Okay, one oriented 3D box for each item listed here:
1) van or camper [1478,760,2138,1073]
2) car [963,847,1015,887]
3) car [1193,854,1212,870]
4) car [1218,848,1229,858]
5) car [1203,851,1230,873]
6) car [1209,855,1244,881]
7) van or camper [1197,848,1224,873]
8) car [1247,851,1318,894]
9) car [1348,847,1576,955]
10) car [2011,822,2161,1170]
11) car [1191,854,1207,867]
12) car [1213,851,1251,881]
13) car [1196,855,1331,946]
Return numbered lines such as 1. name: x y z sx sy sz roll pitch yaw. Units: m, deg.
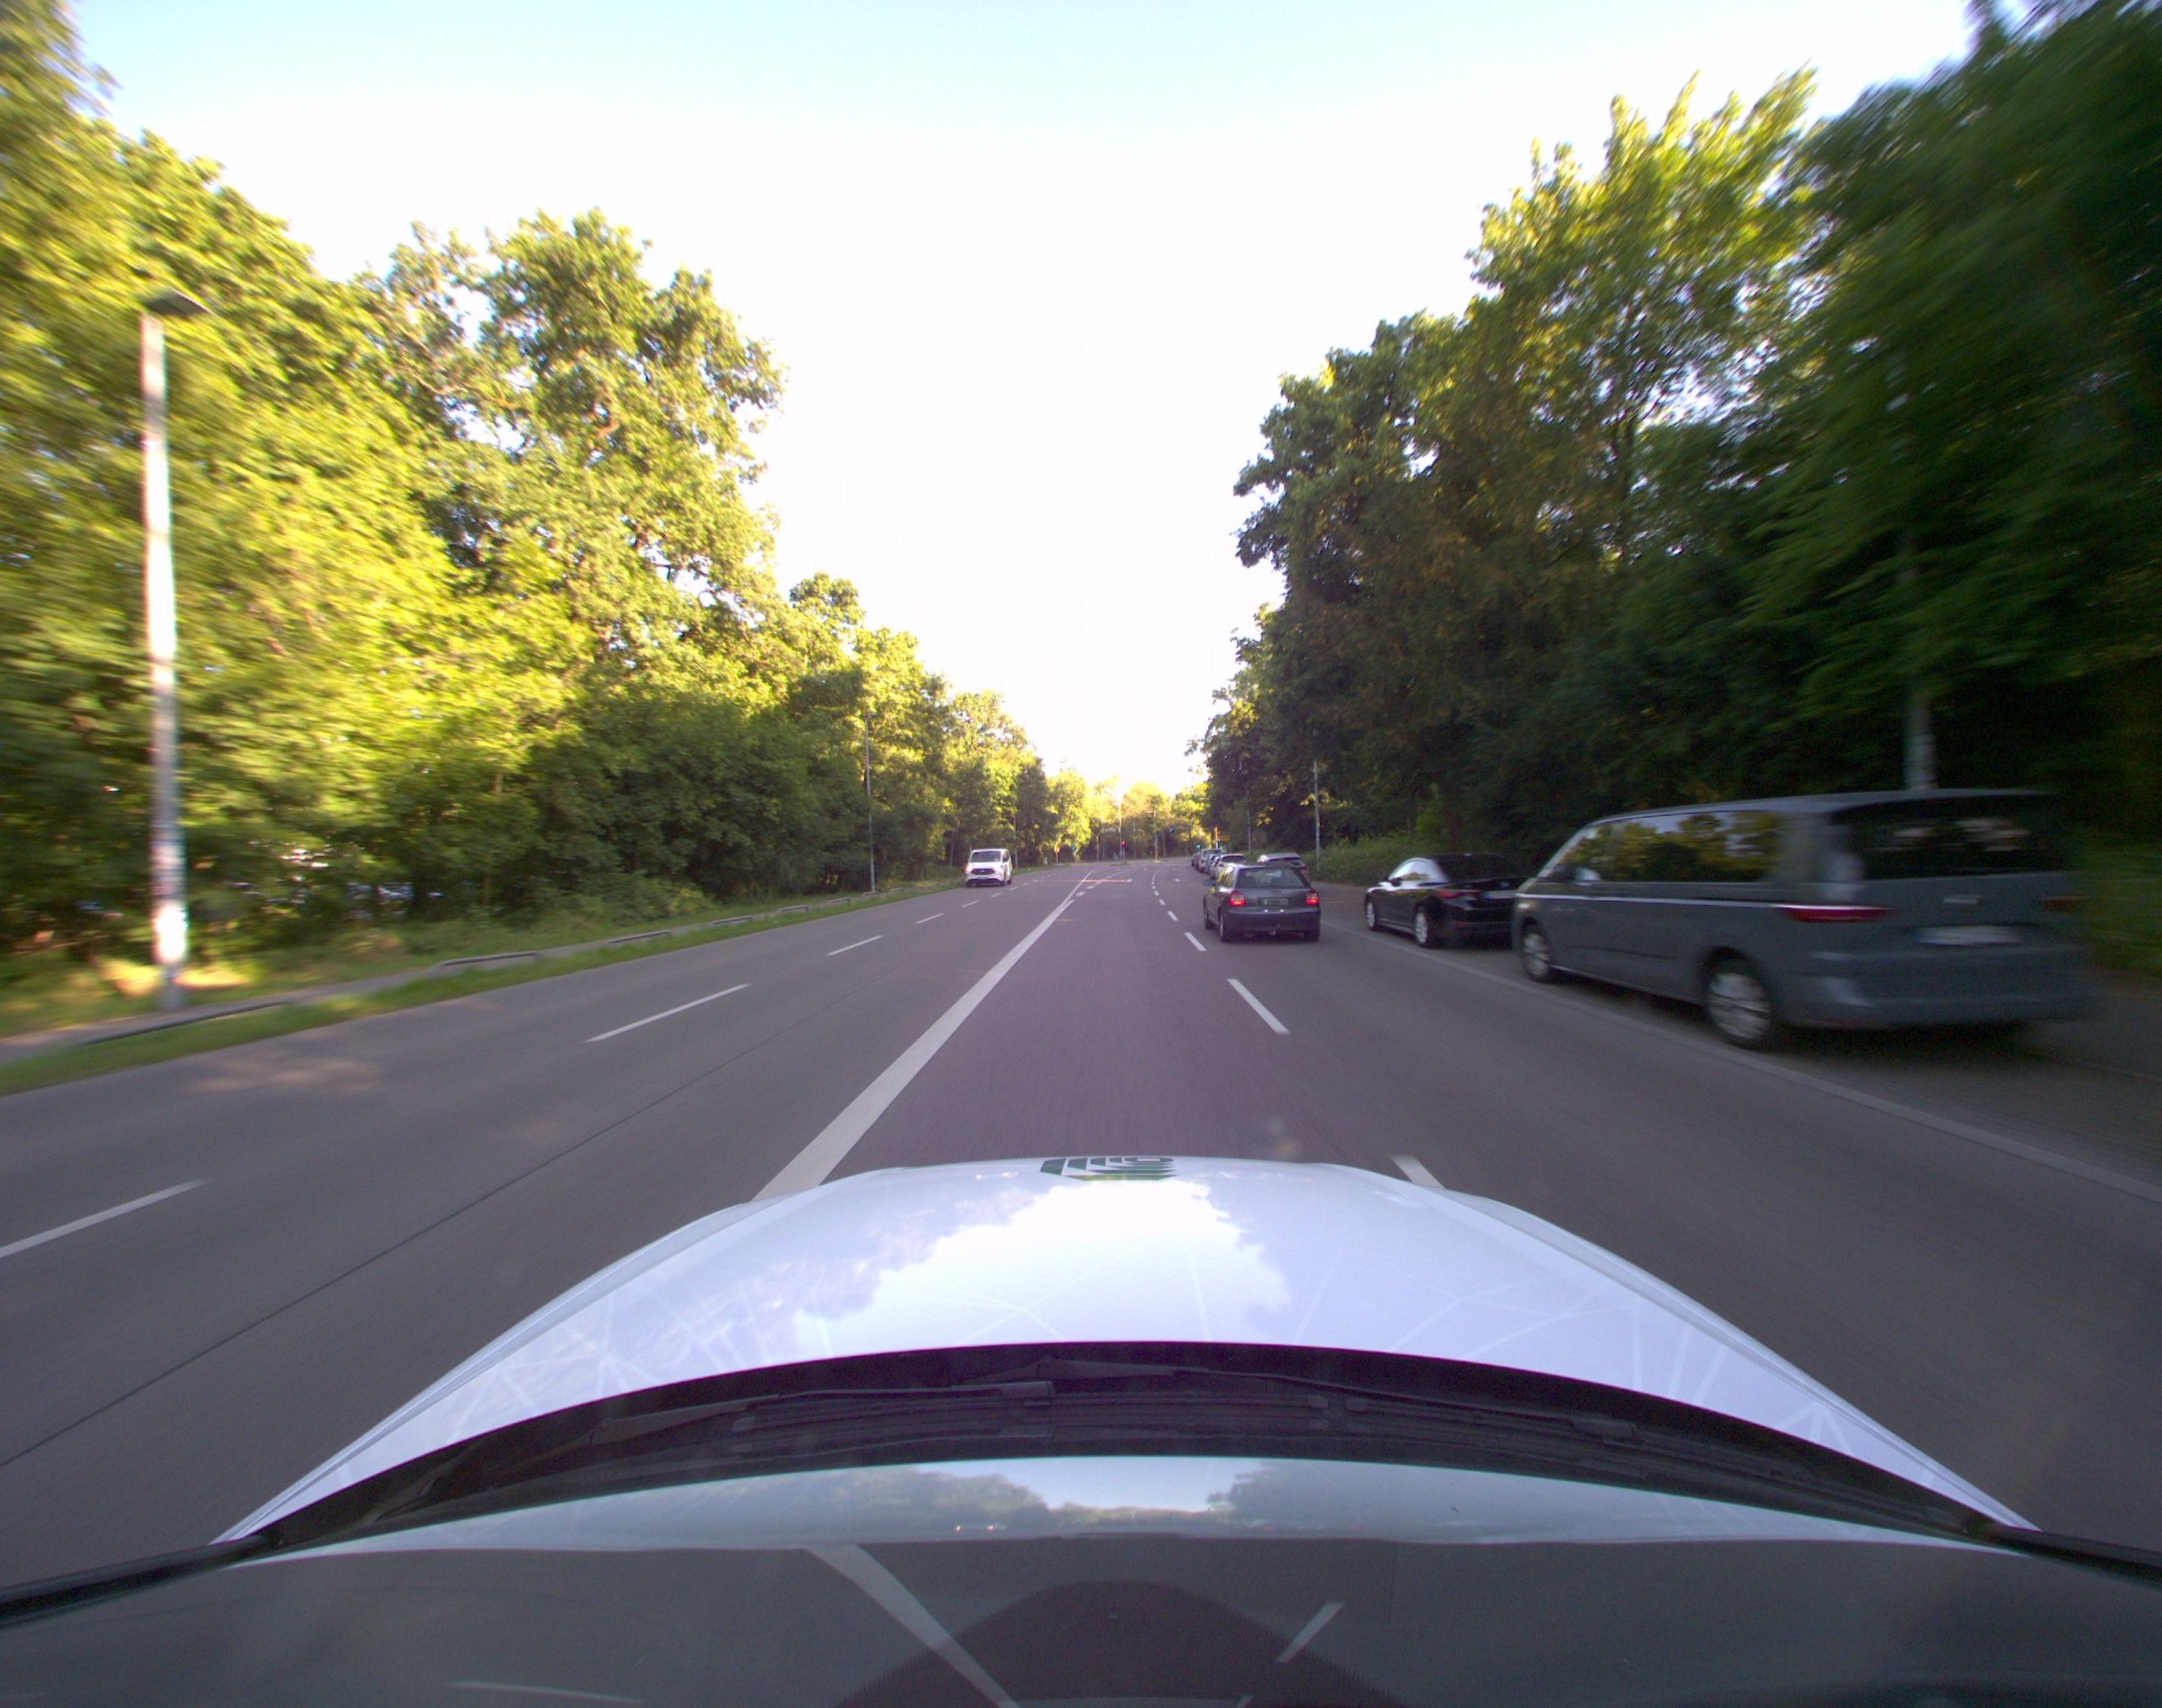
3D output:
1. van or camper: 5.938 0.411 7.832 1.885 1.948 5.138 -2 0 3
2. car: -4.810 0.669 43.297 1.986 1.992 4.999 0 -1 2
3. car: 11.438 0.719 76.786 1.641 1.441 4.121 -1 0 7
4. car: 34.899 -0.274 199.283 2.293 2.336 4.574 -1 0 12
5. car: 10.163 0.578 61.092 1.640 1.522 3.871 -1 0 4
6. car: 8.708 0.816 49.127 1.719 1.409 4.096 -2 0 6
7. van or camper: 10.648 0.532 67.221 1.823 1.970 5.349 -1 0 5
8. car: 7.323 0.624 30.023 1.720 1.441 4.671 -1 0 4
9. car: 6.280 0.667 14.177 1.830 1.441 4.962 -4 0 4
10. car: 5.567 0.599 2.054 1.720 1.543 4.221 -3 0 4
11. car: 14.230 0.750 98.256 1.718 1.461 4.176 -3 0 8
12. car: 8.255 0.646 44.800 1.719 1.522 4.096 -1 0 6
13. car: 3.279 0.767 15.411 1.721 1.441 4.091 -1 0 2
